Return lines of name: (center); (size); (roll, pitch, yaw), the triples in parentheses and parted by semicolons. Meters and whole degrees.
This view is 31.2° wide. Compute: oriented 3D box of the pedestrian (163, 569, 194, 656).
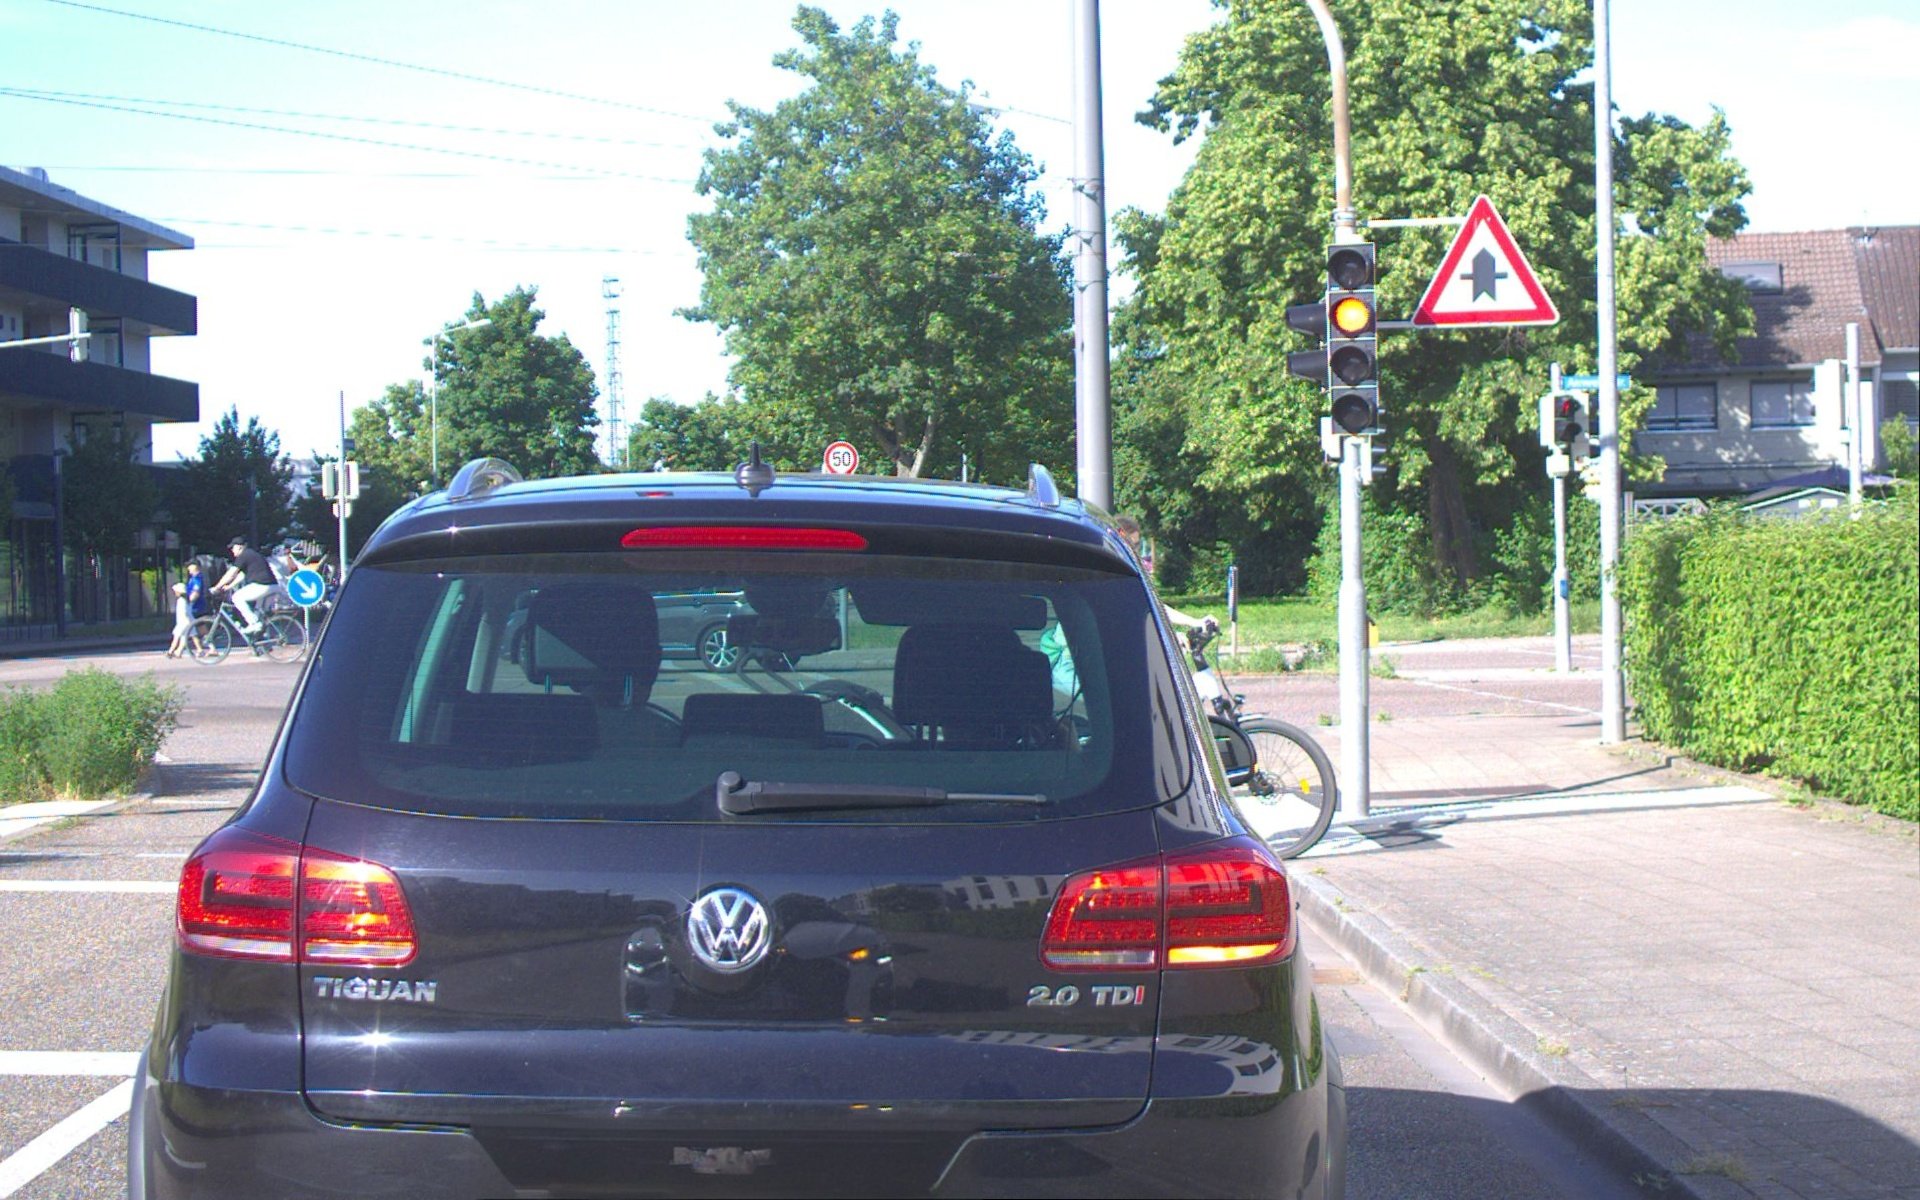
pedestrian: (-13.541, 0.216, 59.586); (0.441, 1.498, 0.518); (1, 0, -6)

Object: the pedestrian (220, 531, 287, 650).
pedestrian: (-10.240, -0.140, 49.873); (0.813, 1.686, 0.621); (-1, 1, -2)

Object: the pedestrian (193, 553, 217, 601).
pedestrian: (-24.102, -0.728, 109.764); (0.642, 1.504, 0.596); (1, 0, 0)

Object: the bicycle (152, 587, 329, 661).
bicycle: (-10.425, 0.342, 49.871); (2.409, 0.999, 0.640); (-1, 1, -1)

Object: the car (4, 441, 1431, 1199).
car: (-0.346, 0.599, 6.539); (1.869, 1.632, 4.000); (1, 1, -1)

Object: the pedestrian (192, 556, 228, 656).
pedestrian: (-13.132, 0.109, 60.174); (0.543, 1.738, 0.518); (1, 0, -6)

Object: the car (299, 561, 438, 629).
car: (-14.267, -0.145, 83.107); (1.994, 1.569, 4.337); (1, 1, 9)

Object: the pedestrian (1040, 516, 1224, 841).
pedestrian: (0.861, 0.384, 17.494); (0.852, 1.588, 0.913); (-2, 1, 0)

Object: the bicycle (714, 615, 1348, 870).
bicycle: (0.368, 0.712, 17.519); (3.115, 1.169, 0.931); (-2, 1, 3)

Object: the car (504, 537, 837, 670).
car: (-3.845, 0.026, 45.923); (3.989, 1.678, 1.999); (1, 1, 14)
